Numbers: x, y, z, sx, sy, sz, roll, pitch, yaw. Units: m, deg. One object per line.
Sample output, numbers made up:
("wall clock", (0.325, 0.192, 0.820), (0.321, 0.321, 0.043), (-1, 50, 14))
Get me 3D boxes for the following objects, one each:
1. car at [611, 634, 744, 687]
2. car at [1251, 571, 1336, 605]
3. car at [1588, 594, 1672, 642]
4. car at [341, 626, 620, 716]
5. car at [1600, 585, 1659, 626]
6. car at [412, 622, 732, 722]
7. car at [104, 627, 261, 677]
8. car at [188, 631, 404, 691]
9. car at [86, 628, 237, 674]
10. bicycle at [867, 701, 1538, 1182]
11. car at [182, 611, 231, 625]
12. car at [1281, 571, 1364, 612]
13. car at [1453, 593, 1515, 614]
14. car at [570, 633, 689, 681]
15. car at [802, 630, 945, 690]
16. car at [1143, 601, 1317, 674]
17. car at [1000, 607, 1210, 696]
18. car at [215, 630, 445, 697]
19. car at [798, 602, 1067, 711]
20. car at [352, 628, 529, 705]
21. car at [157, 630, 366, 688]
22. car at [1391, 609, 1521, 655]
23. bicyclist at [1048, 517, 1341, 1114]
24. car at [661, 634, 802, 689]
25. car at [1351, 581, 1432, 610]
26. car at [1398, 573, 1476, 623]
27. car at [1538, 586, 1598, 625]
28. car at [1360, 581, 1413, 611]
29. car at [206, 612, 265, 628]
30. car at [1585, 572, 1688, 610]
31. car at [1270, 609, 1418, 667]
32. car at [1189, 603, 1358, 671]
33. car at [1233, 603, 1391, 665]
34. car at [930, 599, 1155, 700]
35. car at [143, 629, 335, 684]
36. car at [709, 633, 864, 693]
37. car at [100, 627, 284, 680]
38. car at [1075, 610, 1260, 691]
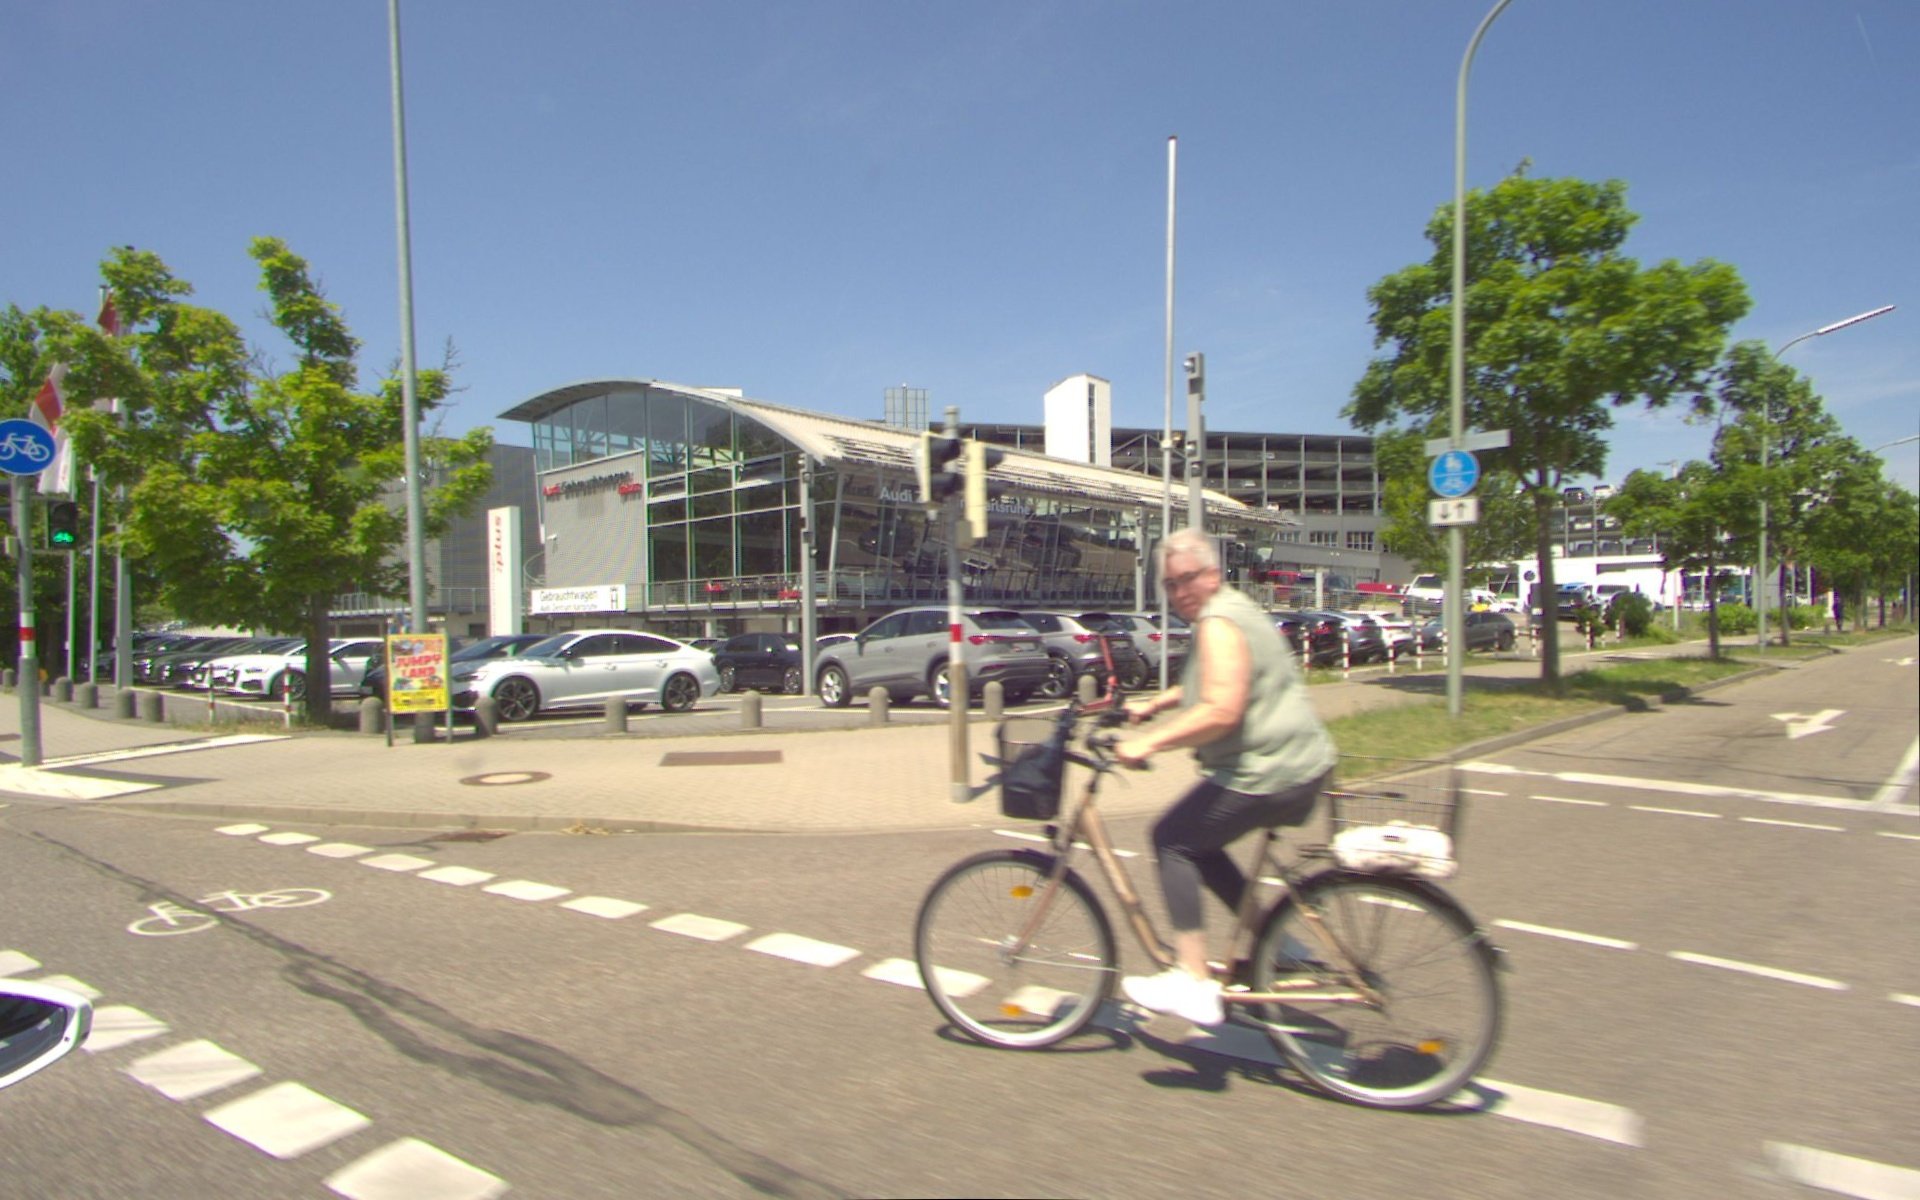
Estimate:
("car", (-9.243, 1.978, 33.026), (1.638, 1.642, 3.969), (-1, -3, 41))
("car", (18.151, -0.605, 54.558), (4.093, 1.744, 1.903), (-1, -1, 34))
("car", (25.497, 0.665, 38.034), (1.894, 1.716, 4.547), (-1, -1, 44))
("car", (-8.404, 1.236, 17.829), (1.847, 1.407, 4.079), (-1, -4, 41))
("car", (31.474, 0.299, 47.029), (1.976, 1.727, 3.972), (-1, -3, 39))
("car", (-6.220, 1.147, 16.485), (1.849, 1.407, 4.570), (-2, -4, 43))
("car", (-24.706, 1.666, 31.901), (1.813, 1.471, 3.666), (-1, -4, 41))
("car", (-16.312, 1.492, 24.752), (1.847, 1.365, 4.082), (-1, -4, 41))
("car", (-26.732, 1.723, 33.596), (1.813, 1.471, 3.666), (-1, -4, 41))
("bicycle", (0.690, 0.939, 3.160), (1.861, 1.148, 0.629), (0, 0, 17))
("car", (-72.949, 1.770, 96.954), (1.591, 1.255, 3.511), (-1, -3, 39))
("car", (16.539, -0.349, 45.577), (1.894, 1.730, 4.547), (-1, -1, 44))
("car", (43.731, 0.315, 83.606), (4.310, 1.674, 1.897), (-1, -1, 42))
("car", (-11.477, 1.983, 34.906), (1.623, 1.600, 3.632), (-1, -3, 41))
("car", (-2.610, 1.727, 29.458), (4.264, 1.647, 1.865), (-2, -4, 44))
("car", (6.627, 0.916, 24.763), (3.861, 1.675, 1.623), (-1, -2, 37))
("car", (2.988, 1.055, 20.906), (3.947, 1.675, 1.839), (-1, -3, 37))
("car", (-14.325, 1.432, 22.946), (1.853, 1.381, 4.079), (-1, -4, 41))
("car", (-0.572, 0.924, 16.802), (4.455, 1.578, 1.858), (-3, -1, 42))
("car", (-11.009, 1.353, 21.083), (4.613, 1.437, 1.854), (-2, -4, 43))
("car", (-18.353, 1.550, 26.464), (1.847, 1.407, 4.208), (-1, -4, 41))
("car", (18.096, 1.119, 36.513), (4.542, 1.491, 1.843), (-1, 0, -25))
("bicyclist", (0.744, 0.598, 3.162), (0.811, 1.626, 0.629), (0, -1, 17))
("car", (-7.050, 1.904, 31.212), (1.829, 1.618, 3.969), (-1, -3, 41))
("car", (28.227, -0.249, 65.592), (4.538, 1.820, 1.897), (-1, -1, 42))
("car", (20.287, -0.067, 42.486), (1.890, 1.992, 5.215), (-1, -1, 38))
("car", (29.473, 0.313, 48.495), (1.976, 1.727, 3.972), (-1, -3, 39))
("car", (26.605, -0.224, 62.422), (1.864, 1.728, 3.967), (-1, -1, 42))
("car", (-65.851, 1.804, 91.052), (1.774, 1.328, 3.976), (-1, -3, 36))
("car", (37.074, -0.461, 54.941), (4.534, 1.911, 1.899), (-1, -1, 39))
("car", (11.804, 1.176, 30.861), (3.947, 1.675, 1.839), (-1, -3, 37))
("car", (8.350, 0.998, 26.783), (3.947, 1.675, 1.839), (-1, -3, 37))
("car", (10.120, 0.963, 28.882), (3.947, 1.676, 1.838), (-1, -1, 37))
("car", (1.468, 0.915, 18.727), (3.957, 1.675, 1.835), (-2, -4, 44))
("car", (-20.275, 1.592, 28.286), (1.847, 1.422, 4.084), (-1, -4, 41))
("car", (-4.872, 1.706, 27.718), (4.667, 1.534, 1.865), (-2, -4, 44))
("car", (-22.975, 1.605, 30.083), (1.847, 1.471, 4.084), (-1, -4, 41))
("car", (4.656, 1.079, 22.646), (3.768, 1.637, 1.631), (0, -1, 37))
